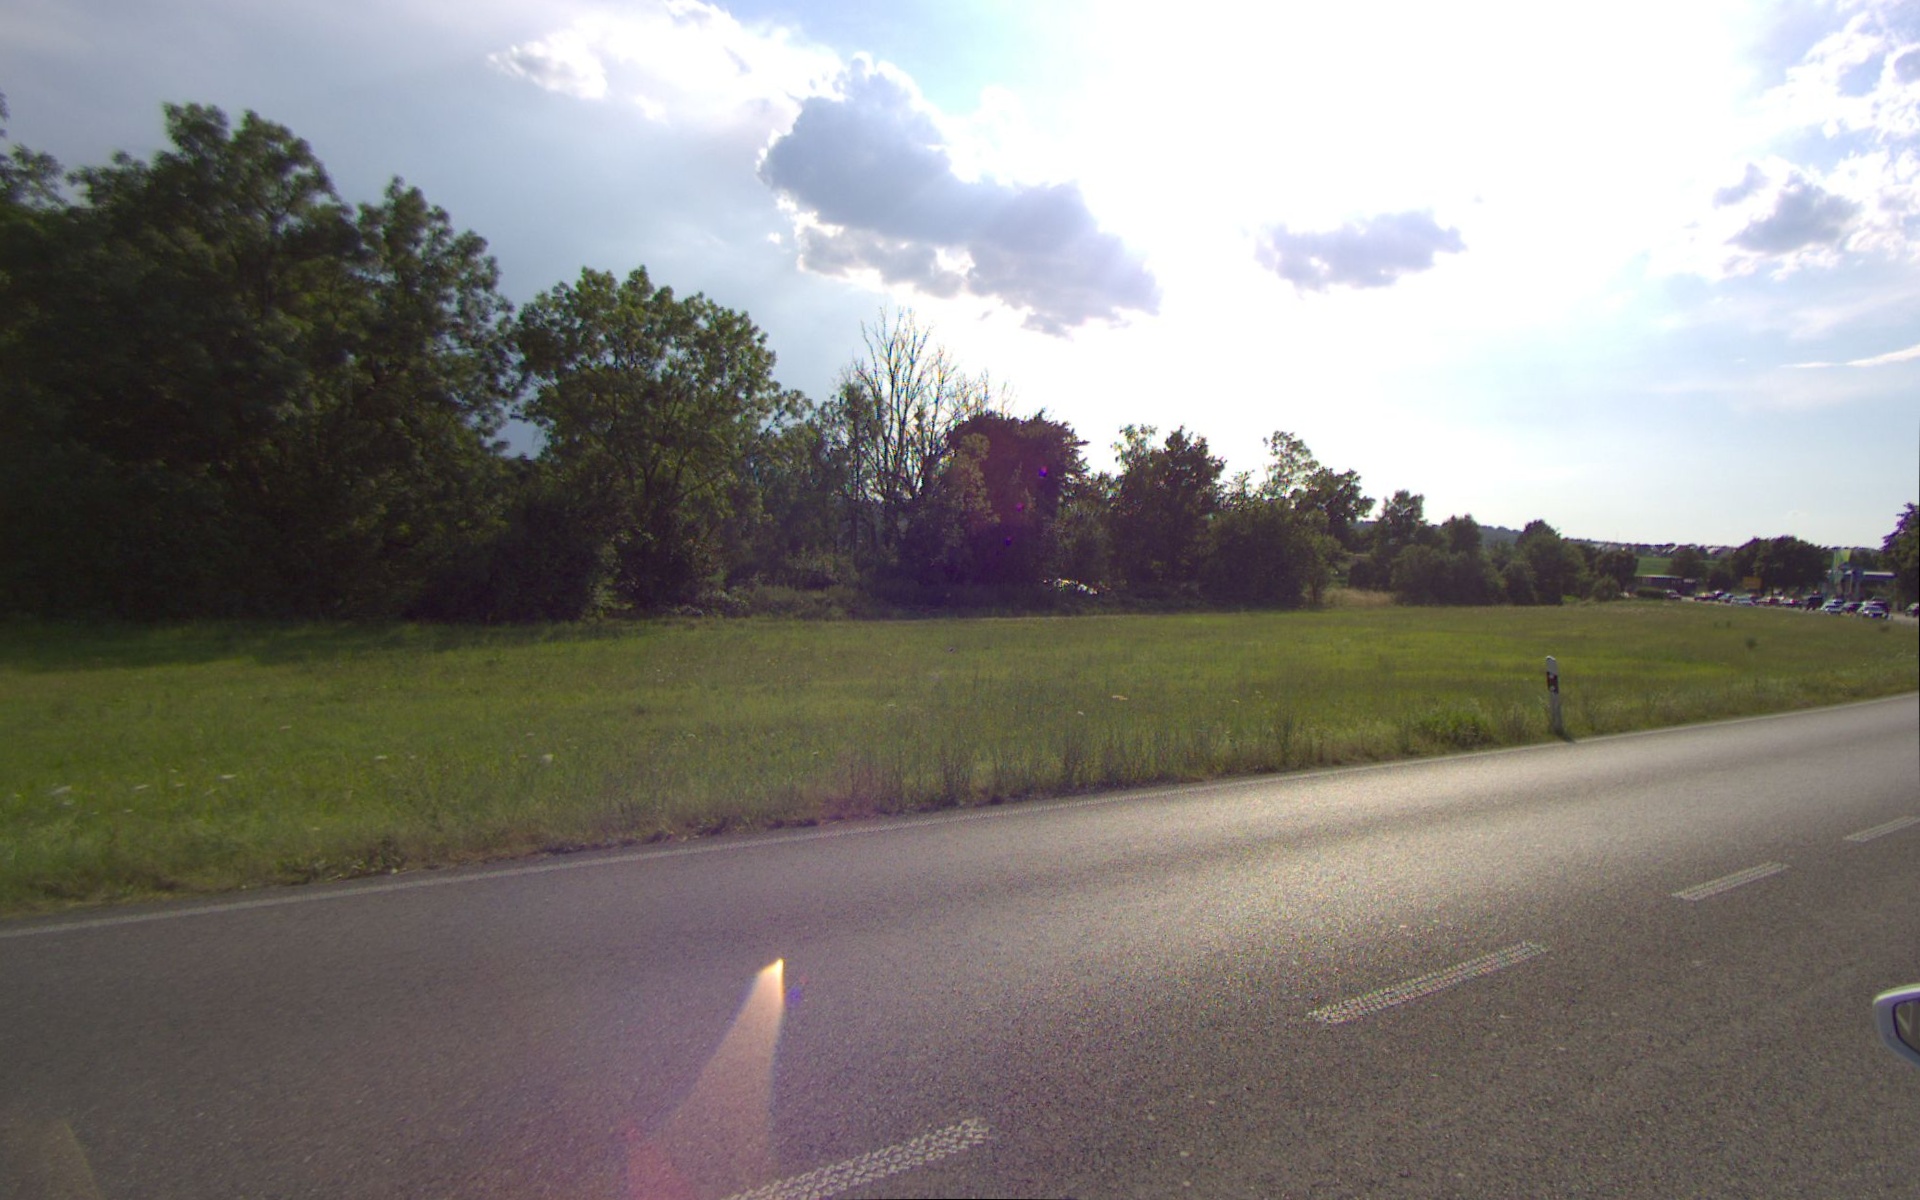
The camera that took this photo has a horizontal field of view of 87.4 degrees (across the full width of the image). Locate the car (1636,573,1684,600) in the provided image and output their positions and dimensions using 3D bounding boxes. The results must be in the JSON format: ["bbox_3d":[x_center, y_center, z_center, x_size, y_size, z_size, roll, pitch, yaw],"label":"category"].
[{"bbox_3d":[139.401,-2.653,200.293,3.481,5.127,13.246,2,1,15],"label":"car"}]

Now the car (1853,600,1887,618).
[{"bbox_3d":[96.579,0.959,106.697,1.966,1.748,4.413,2,1,33],"label":"car"}]

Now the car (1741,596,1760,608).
[{"bbox_3d":[121.100,0.250,153.953,1.815,1.678,3.990,2,0,32],"label":"car"}]

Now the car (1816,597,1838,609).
[{"bbox_3d":[128.416,0.429,148.796,1.855,1.621,3.990,2,1,32],"label":"car"}]

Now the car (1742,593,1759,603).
[{"bbox_3d":[132.053,-0.345,167.819,1.855,1.621,3.990,2,1,32],"label":"car"}]

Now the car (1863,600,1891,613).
[{"bbox_3d":[115.588,0.830,126.652,1.855,1.621,3.990,2,1,32],"label":"car"}]

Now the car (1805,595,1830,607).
[{"bbox_3d":[122.536,0.191,143.586,2.055,1.621,3.990,2,1,32],"label":"car"}]

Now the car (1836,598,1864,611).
[{"bbox_3d":[119.005,0.640,134.394,2.055,1.621,3.990,2,1,32],"label":"car"}]

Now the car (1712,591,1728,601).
[{"bbox_3d":[133.504,-0.673,176.458,1.855,1.621,3.990,2,1,32],"label":"car"}]

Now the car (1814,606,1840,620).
[{"bbox_3d":[106.159,1.584,123.054,1.816,1.678,3.989,2,0,33],"label":"car"}]

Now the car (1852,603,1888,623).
[{"bbox_3d":[82.791,1.177,91.442,1.816,1.678,3.989,2,0,33],"label":"car"}]

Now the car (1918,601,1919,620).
[{"bbox_3d":[84.805,0.928,87.100,1.816,1.678,3.989,2,0,33],"label":"car"}]

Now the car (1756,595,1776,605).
[{"bbox_3d":[129.810,0.022,161.801,1.854,1.621,3.993,2,1,29],"label":"car"}]

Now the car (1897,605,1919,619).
[{"bbox_3d":[116.483,1.502,122.749,2.055,1.621,3.990,2,1,32],"label":"car"}]

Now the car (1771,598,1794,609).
[{"bbox_3d":[127.090,0.552,155.245,2.055,1.621,3.992,2,1,30],"label":"car"}]
